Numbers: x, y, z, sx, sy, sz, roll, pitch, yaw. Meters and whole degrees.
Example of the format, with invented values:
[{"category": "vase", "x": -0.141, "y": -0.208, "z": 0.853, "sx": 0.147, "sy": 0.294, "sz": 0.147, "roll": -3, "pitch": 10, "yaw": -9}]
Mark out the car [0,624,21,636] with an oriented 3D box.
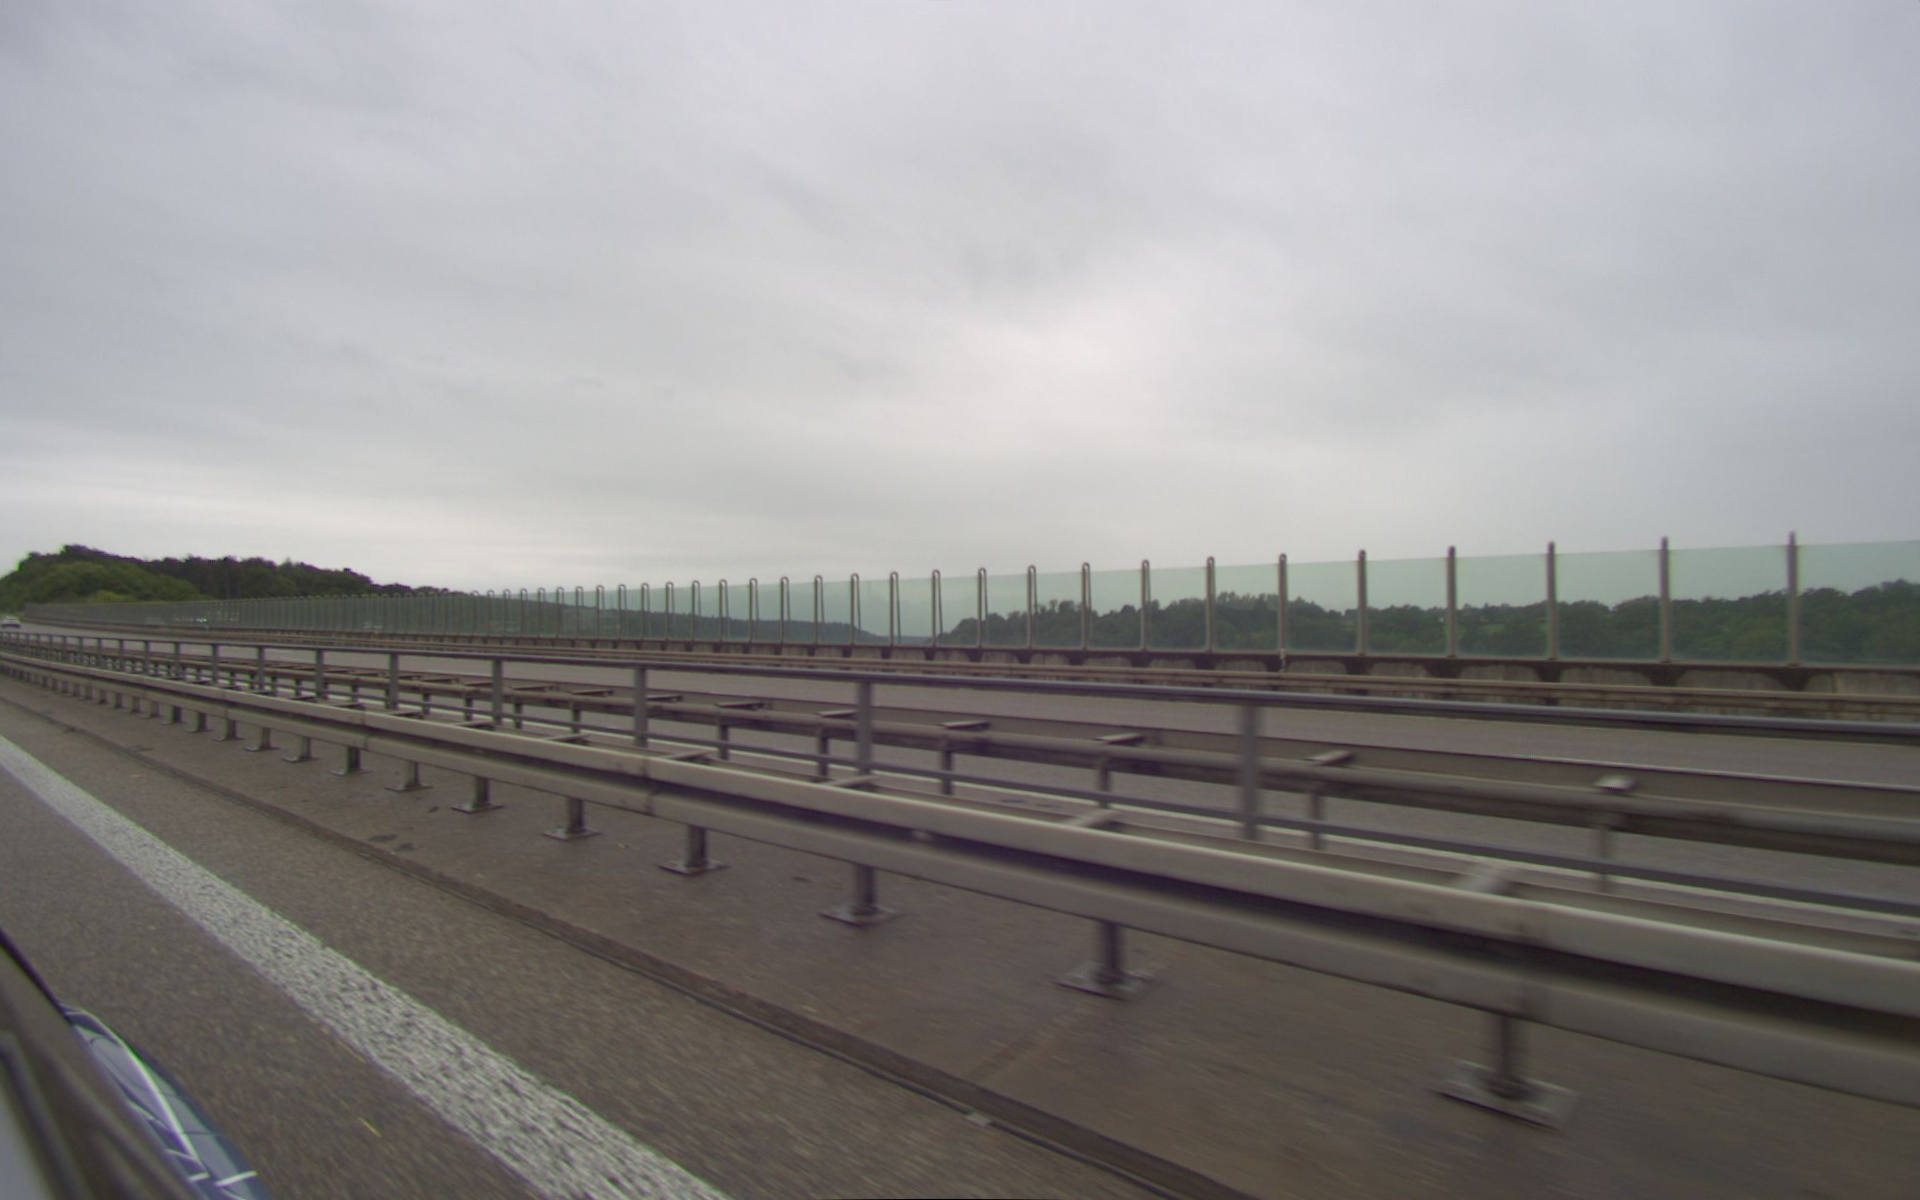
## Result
[{"category": "car", "x": -136.886, "y": 4.288, "z": 145.727, "sx": 4.711, "sy": 1.642, "sz": 1.972, "roll": -1, "pitch": -2, "yaw": 42}]
